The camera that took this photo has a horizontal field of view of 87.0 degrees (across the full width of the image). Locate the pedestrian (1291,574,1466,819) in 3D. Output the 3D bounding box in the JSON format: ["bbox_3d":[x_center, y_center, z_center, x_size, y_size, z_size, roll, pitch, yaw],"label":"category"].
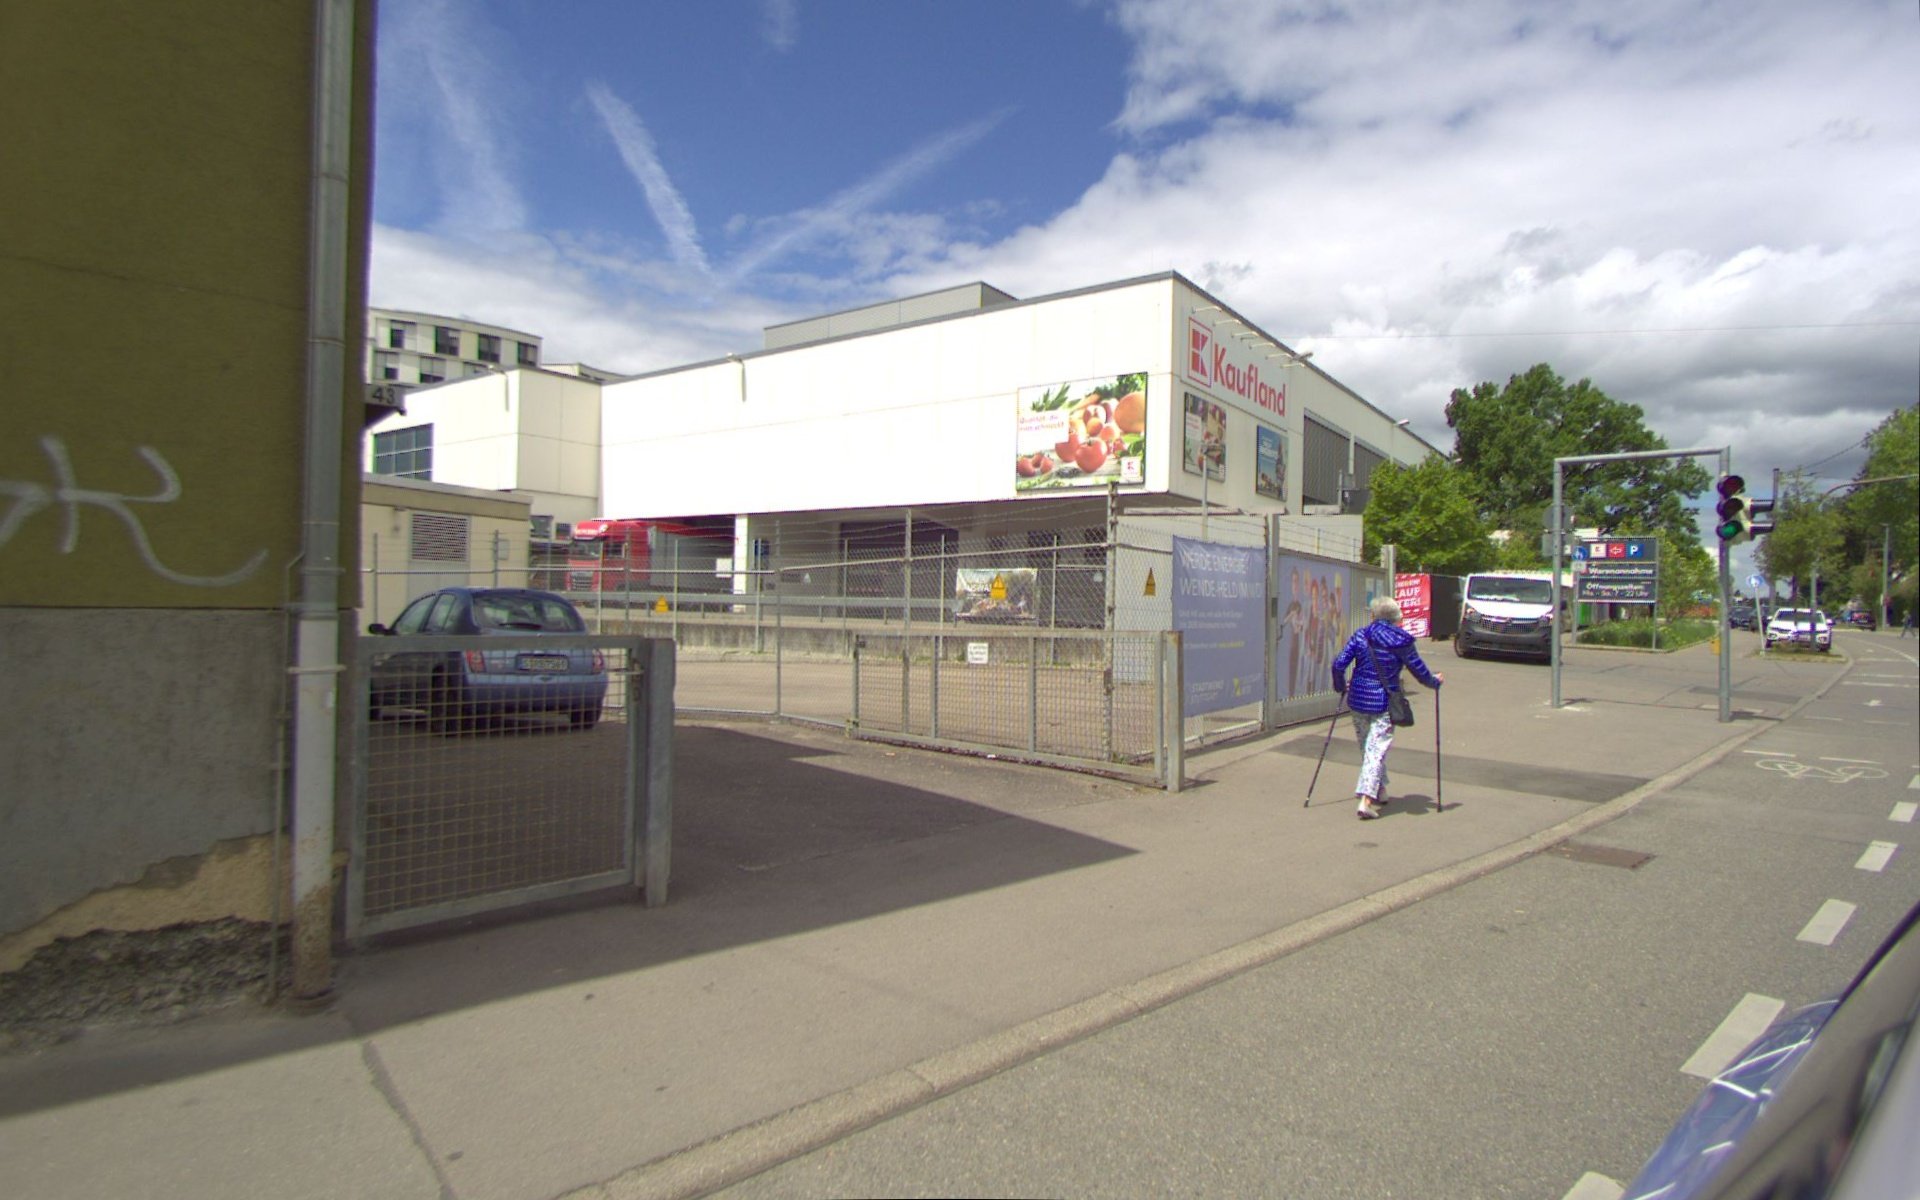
[{"bbox_3d":[3.012,0.628,7.276,0.824,1.591,0.972,2,1,45],"label":"pedestrian"}]

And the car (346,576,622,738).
[{"bbox_3d":[-5.398,0.564,11.313,3.504,1.514,1.632,0,-2,44],"label":"car"}]

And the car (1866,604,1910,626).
[{"bbox_3d":[68.141,1.057,74.374,1.839,1.575,3.900,-1,0,35],"label":"car"}]

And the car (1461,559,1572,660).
[{"bbox_3d":[12.851,0.148,23.398,1.983,2.048,5.296,2,1,29],"label":"car"}]

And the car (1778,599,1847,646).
[{"bbox_3d":[31.437,0.780,37.353,1.789,1.549,3.864,4,3,40],"label":"car"}]

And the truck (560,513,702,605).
[{"bbox_3d":[-14.848,-1.739,46.003,2.585,3.911,5.833,-1,-1,34],"label":"truck"}]

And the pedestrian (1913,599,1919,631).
[{"bbox_3d":[52.185,0.816,54.883,0.546,1.694,0.584,0,-1,21],"label":"pedestrian"}]

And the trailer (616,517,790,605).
[{"bbox_3d":[-12.370,-1.732,49.765,2.585,3.911,8.956,-1,-1,33],"label":"trailer"}]
